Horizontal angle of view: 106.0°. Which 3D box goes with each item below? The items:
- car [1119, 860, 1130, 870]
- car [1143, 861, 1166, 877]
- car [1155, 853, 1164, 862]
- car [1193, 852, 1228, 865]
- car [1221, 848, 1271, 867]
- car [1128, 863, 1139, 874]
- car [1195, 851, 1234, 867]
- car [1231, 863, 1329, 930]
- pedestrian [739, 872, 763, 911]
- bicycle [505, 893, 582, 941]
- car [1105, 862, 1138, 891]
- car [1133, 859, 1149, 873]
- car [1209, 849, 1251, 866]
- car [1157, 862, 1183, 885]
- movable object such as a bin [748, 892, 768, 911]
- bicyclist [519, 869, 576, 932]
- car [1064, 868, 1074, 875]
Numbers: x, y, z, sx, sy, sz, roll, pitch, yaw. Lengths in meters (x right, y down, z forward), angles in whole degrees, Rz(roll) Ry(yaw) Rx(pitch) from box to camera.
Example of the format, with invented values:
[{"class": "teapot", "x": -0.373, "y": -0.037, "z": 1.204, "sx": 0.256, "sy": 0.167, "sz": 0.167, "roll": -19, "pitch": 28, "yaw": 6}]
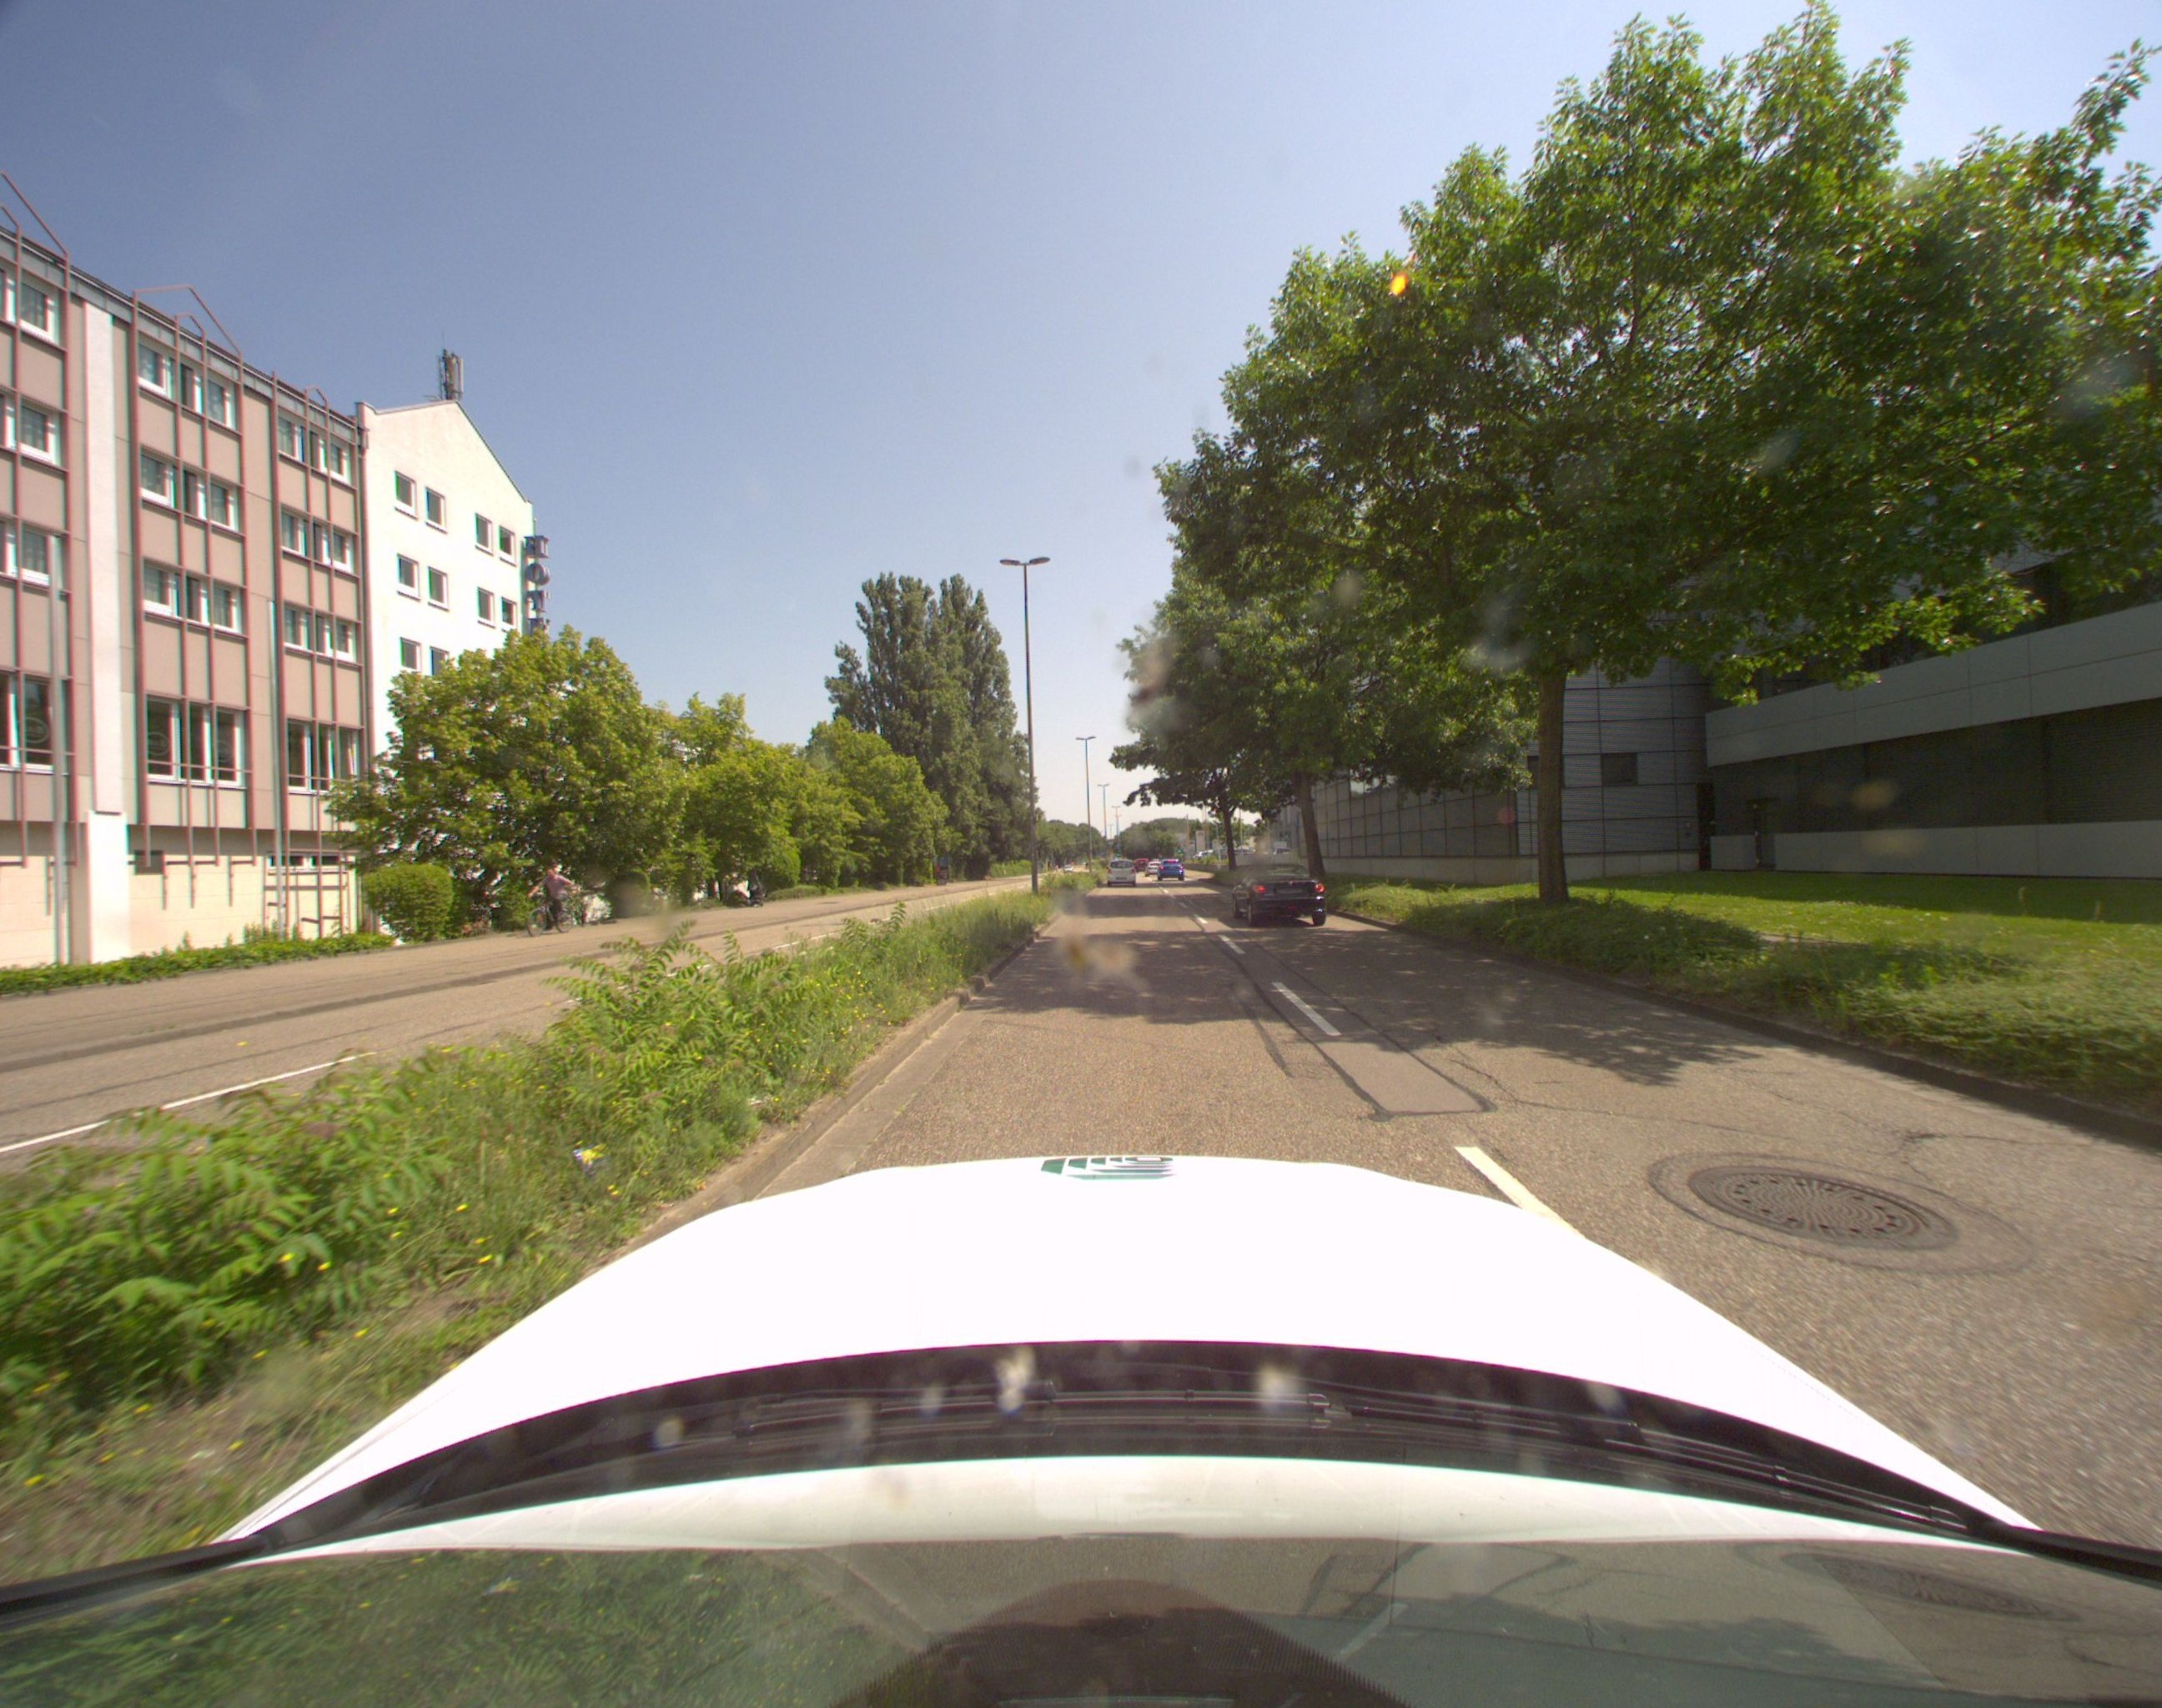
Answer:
[{"class": "car", "x": 8.094, "y": 2.045, "z": 152.344, "sx": 1.814, "sy": 1.662, "sz": 3.998, "roll": -2, "pitch": 0, "yaw": -1}, {"class": "car", "x": 7.150, "y": 1.501, "z": 79.623, "sx": 1.985, "sy": 1.442, "sz": 4.002, "roll": -2, "pitch": -1, "yaw": 3}, {"class": "car", "x": 18.385, "y": 0.729, "z": 191.026, "sx": 1.764, "sy": 2.013, "sz": 3.990, "roll": -3, "pitch": 0, "yaw": 0}, {"class": "car", "x": 17.675, "y": 0.623, "z": 111.209, "sx": 4.516, "sy": 1.545, "sz": 2.001, "roll": -3, "pitch": -1, "yaw": 2}, {"class": "car", "x": 16.274, "y": 0.375, "z": 80.579, "sx": 4.481, "sy": 1.583, "sz": 2.001, "roll": -3, "pitch": -1, "yaw": 2}, {"class": "car", "x": 9.165, "y": 2.499, "z": 141.315, "sx": 1.790, "sy": 1.690, "sz": 4.003, "roll": -3, "pitch": -1, "yaw": 3}, {"class": "car", "x": 15.659, "y": 0.581, "z": 95.586, "sx": 4.210, "sy": 1.647, "sz": 2.001, "roll": -3, "pitch": -1, "yaw": 2}, {"class": "car", "x": 4.540, "y": 0.923, "z": 19.013, "sx": 1.620, "sy": 1.364, "sz": 3.609, "roll": 0, "pitch": 0, "yaw": 4}, {"class": "pedestrian", "x": -13.556, "y": 1.543, "z": 33.464, "sx": 0.630, "sy": 1.545, "sz": 0.728, "roll": -3, "pitch": -1, "yaw": 3}, {"class": "bicycle", "x": -13.551, "y": 1.560, "z": 20.615, "sx": 0.549, "sy": 1.073, "sz": 2.063, "roll": -1, "pitch": -1, "yaw": 0}, {"class": "car", "x": 2.335, "y": 1.239, "z": 46.574, "sx": 1.740, "sy": 1.520, "sz": 3.750, "roll": -1, "pitch": 0, "yaw": 5}, {"class": "car", "x": 7.566, "y": 1.520, "z": 102.992, "sx": 1.770, "sy": 1.740, "sz": 3.999, "roll": -2, "pitch": -1, "yaw": 0}, {"class": "car", "x": 16.335, "y": 0.396, "z": 89.328, "sx": 4.210, "sy": 1.647, "sz": 2.001, "roll": -3, "pitch": -1, "yaw": 2}, {"class": "car", "x": 6.579, "y": 1.444, "z": 60.251, "sx": 1.818, "sy": 1.580, "sz": 3.611, "roll": -2, "pitch": -2, "yaw": 6}, {"class": "movable object such as a bin", "x": -13.131, "y": 1.935, "z": 33.090, "sx": 0.425, "sy": 0.705, "sz": 0.654, "roll": -3, "pitch": -1, "yaw": 11}, {"class": "bicyclist", "x": -13.564, "y": 1.171, "z": 20.719, "sx": 0.715, "sy": 1.516, "sz": 1.026, "roll": -2, "pitch": -1, "yaw": -1}, {"class": "car", "x": -2.334, "y": 3.459, "z": 160.030, "sx": 1.729, "sy": 1.413, "sz": 4.373, "roll": -2, "pitch": -1, "yaw": 2}]
